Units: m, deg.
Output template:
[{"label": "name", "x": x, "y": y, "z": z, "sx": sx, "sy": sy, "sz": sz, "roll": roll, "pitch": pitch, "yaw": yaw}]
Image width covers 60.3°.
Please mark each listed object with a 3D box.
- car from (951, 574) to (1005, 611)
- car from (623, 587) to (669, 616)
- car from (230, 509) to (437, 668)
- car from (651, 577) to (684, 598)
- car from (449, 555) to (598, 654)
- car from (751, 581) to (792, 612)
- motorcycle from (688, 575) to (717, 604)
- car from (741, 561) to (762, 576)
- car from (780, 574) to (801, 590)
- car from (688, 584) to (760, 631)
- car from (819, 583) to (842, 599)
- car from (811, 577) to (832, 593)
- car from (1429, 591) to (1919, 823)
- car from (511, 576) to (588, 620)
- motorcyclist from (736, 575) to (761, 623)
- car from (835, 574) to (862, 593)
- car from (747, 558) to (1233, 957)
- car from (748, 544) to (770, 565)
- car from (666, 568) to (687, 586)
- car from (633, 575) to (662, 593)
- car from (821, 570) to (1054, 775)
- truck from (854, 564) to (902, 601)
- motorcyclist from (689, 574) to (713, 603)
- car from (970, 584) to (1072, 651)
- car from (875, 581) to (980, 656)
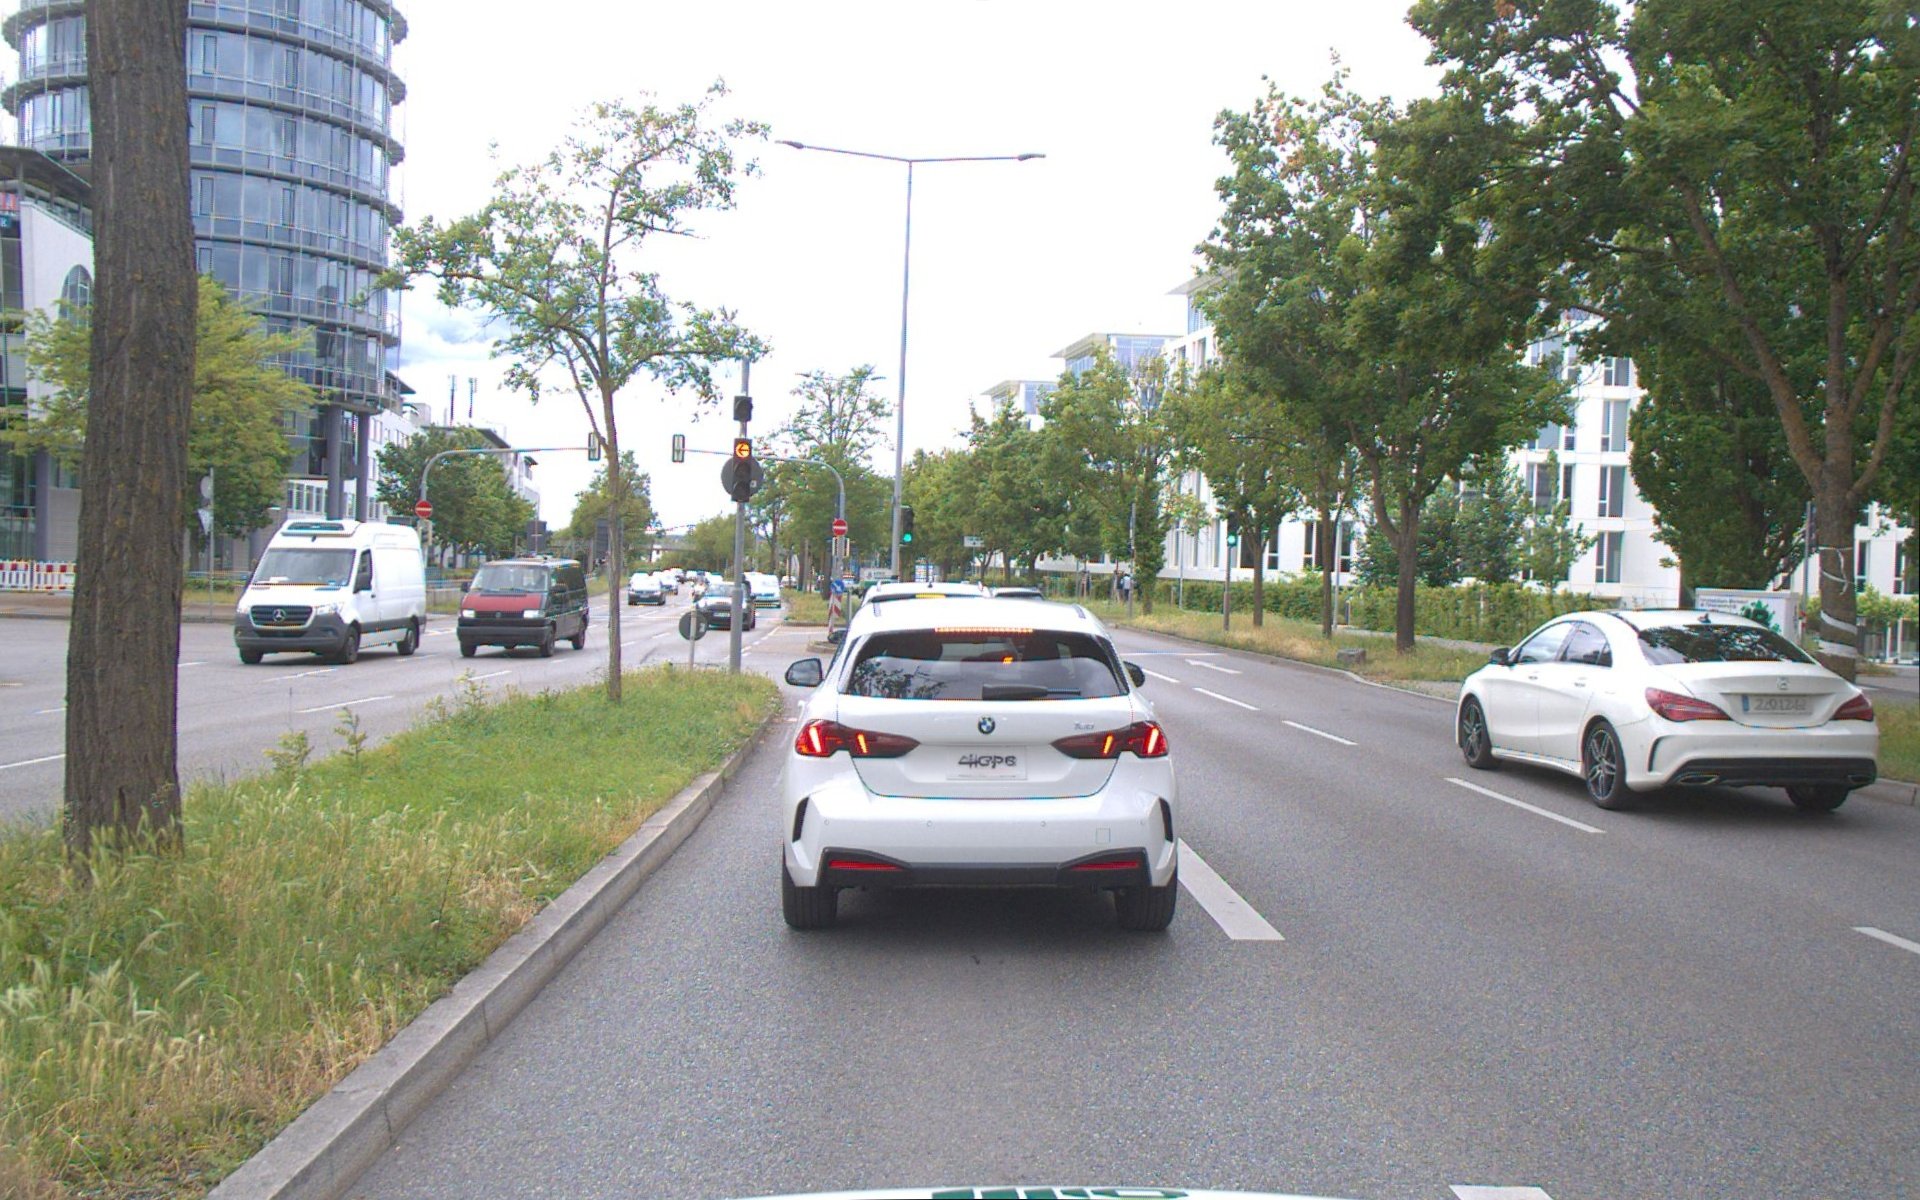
[{"label": "car", "x": 0.835, "y": -0.360, "z": 78.314, "sx": 1.956, "sy": 1.624, "sz": 3.993, "roll": 2, "pitch": 0, "yaw": -8}, {"label": "car", "x": -16.056, "y": 0.083, "z": 84.788, "sx": 1.673, "sy": 1.443, "sz": 3.802, "roll": 0, "pitch": 0, "yaw": -1}, {"label": "car", "x": -11.895, "y": -0.237, "z": 31.914, "sx": 1.954, "sy": 2.679, "sz": 5.871, "roll": 3, "pitch": 0, "yaw": -4}, {"label": "car", "x": -20.682, "y": -0.911, "z": 117.135, "sx": 1.673, "sy": 1.443, "sz": 3.802, "roll": 0, "pitch": 0, "yaw": -1}, {"label": "car", "x": -9.148, "y": 0.038, "z": 35.089, "sx": 1.896, "sy": 1.951, "sz": 4.973, "roll": 0, "pitch": 1, "yaw": -1}, {"label": "car", "x": -9.418, "y": -0.171, "z": 82.959, "sx": 1.673, "sy": 1.523, "sz": 3.802, "roll": 0, "pitch": 0, "yaw": -1}, {"label": "motorcycle", "x": -12.975, "y": -0.533, "z": 83.401, "sx": 0.871, "sy": 1.422, "sz": 3.999, "roll": 1, "pitch": 0, "yaw": -1}, {"label": "car", "x": -24.078, "y": -3.619, "z": 191.167, "sx": 1.953, "sy": 1.646, "sz": 3.999, "roll": 3, "pitch": 0, "yaw": -1}, {"label": "car", "x": -17.185, "y": -1.819, "z": 167.882, "sx": 1.954, "sy": 1.516, "sz": 3.997, "roll": 2, "pitch": 0, "yaw": -3}, {"label": "car", "x": -7.290, "y": 0.202, "z": 51.352, "sx": 1.718, "sy": 1.395, "sz": 3.779, "roll": 0, "pitch": 0, "yaw": -1}, {"label": "car", "x": -12.896, "y": -0.928, "z": 164.236, "sx": 1.957, "sy": 1.534, "sz": 3.991, "roll": 1, "pitch": 0, "yaw": -9}, {"label": "car", "x": -14.032, "y": -1.549, "z": 167.281, "sx": 1.954, "sy": 1.516, "sz": 3.997, "roll": 2, "pitch": 0, "yaw": -3}, {"label": "car", "x": 5.482, "y": 0.714, "z": 13.309, "sx": 1.758, "sy": 1.498, "sz": 4.695, "roll": 2, "pitch": 0, "yaw": -4}, {"label": "car", "x": -13.892, "y": -0.082, "z": 56.140, "sx": 1.673, "sy": 1.443, "sz": 4.018, "roll": 0, "pitch": 0, "yaw": -1}, {"label": "motorcyclist", "x": -8.431, "y": -0.043, "z": 66.039, "sx": 0.831, "sy": 1.869, "sz": 1.259, "roll": 1, "pitch": 0, "yaw": -1}, {"label": "car", "x": -9.449, "y": -1.382, "z": 139.864, "sx": 1.956, "sy": 1.534, "sz": 3.993, "roll": 1, "pitch": 0, "yaw": -8}, {"label": "car", "x": 0.169, "y": 0.607, "z": 8.330, "sx": 1.824, "sy": 1.474, "sz": 4.001, "roll": 1, "pitch": 0, "yaw": 1}, {"label": "car", "x": -21.160, "y": -4.813, "z": 174.335, "sx": 1.954, "sy": 2.045, "sz": 4.321, "roll": 3, "pitch": 0, "yaw": -4}, {"label": "car", "x": -32.677, "y": -2.633, "z": 190.619, "sx": 1.954, "sy": 2.046, "sz": 4.321, "roll": 1, "pitch": 0, "yaw": -4}, {"label": "car", "x": -25.758, "y": -1.336, "z": 136.476, "sx": 1.673, "sy": 1.443, "sz": 3.802, "roll": 0, "pitch": 0, "yaw": -1}, {"label": "car", "x": -0.192, "y": 0.624, "z": 16.140, "sx": 1.953, "sy": 1.701, "sz": 4.000, "roll": 1, "pitch": 0, "yaw": 0}, {"label": "truck", "x": -6.072, "y": -1.230, "z": 121.548, "sx": 2.807, "sy": 2.563, "sz": 6.273, "roll": 2, "pitch": 0, "yaw": -9}, {"label": "motorcyclist", "x": -12.971, "y": -0.590, "z": 82.856, "sx": 0.891, "sy": 1.416, "sz": 1.673, "roll": 1, "pitch": 0, "yaw": -1}, {"label": "car", "x": 1.418, "y": 0.372, "z": 40.327, "sx": 2.012, "sy": 1.512, "sz": 4.970, "roll": 0, "pitch": 1, "yaw": -3}, {"label": "car", "x": -0.681, "y": 0.403, "z": 37.439, "sx": 1.951, "sy": 1.534, "sz": 4.002, "roll": 1, "pitch": 0, "yaw": 5}]
